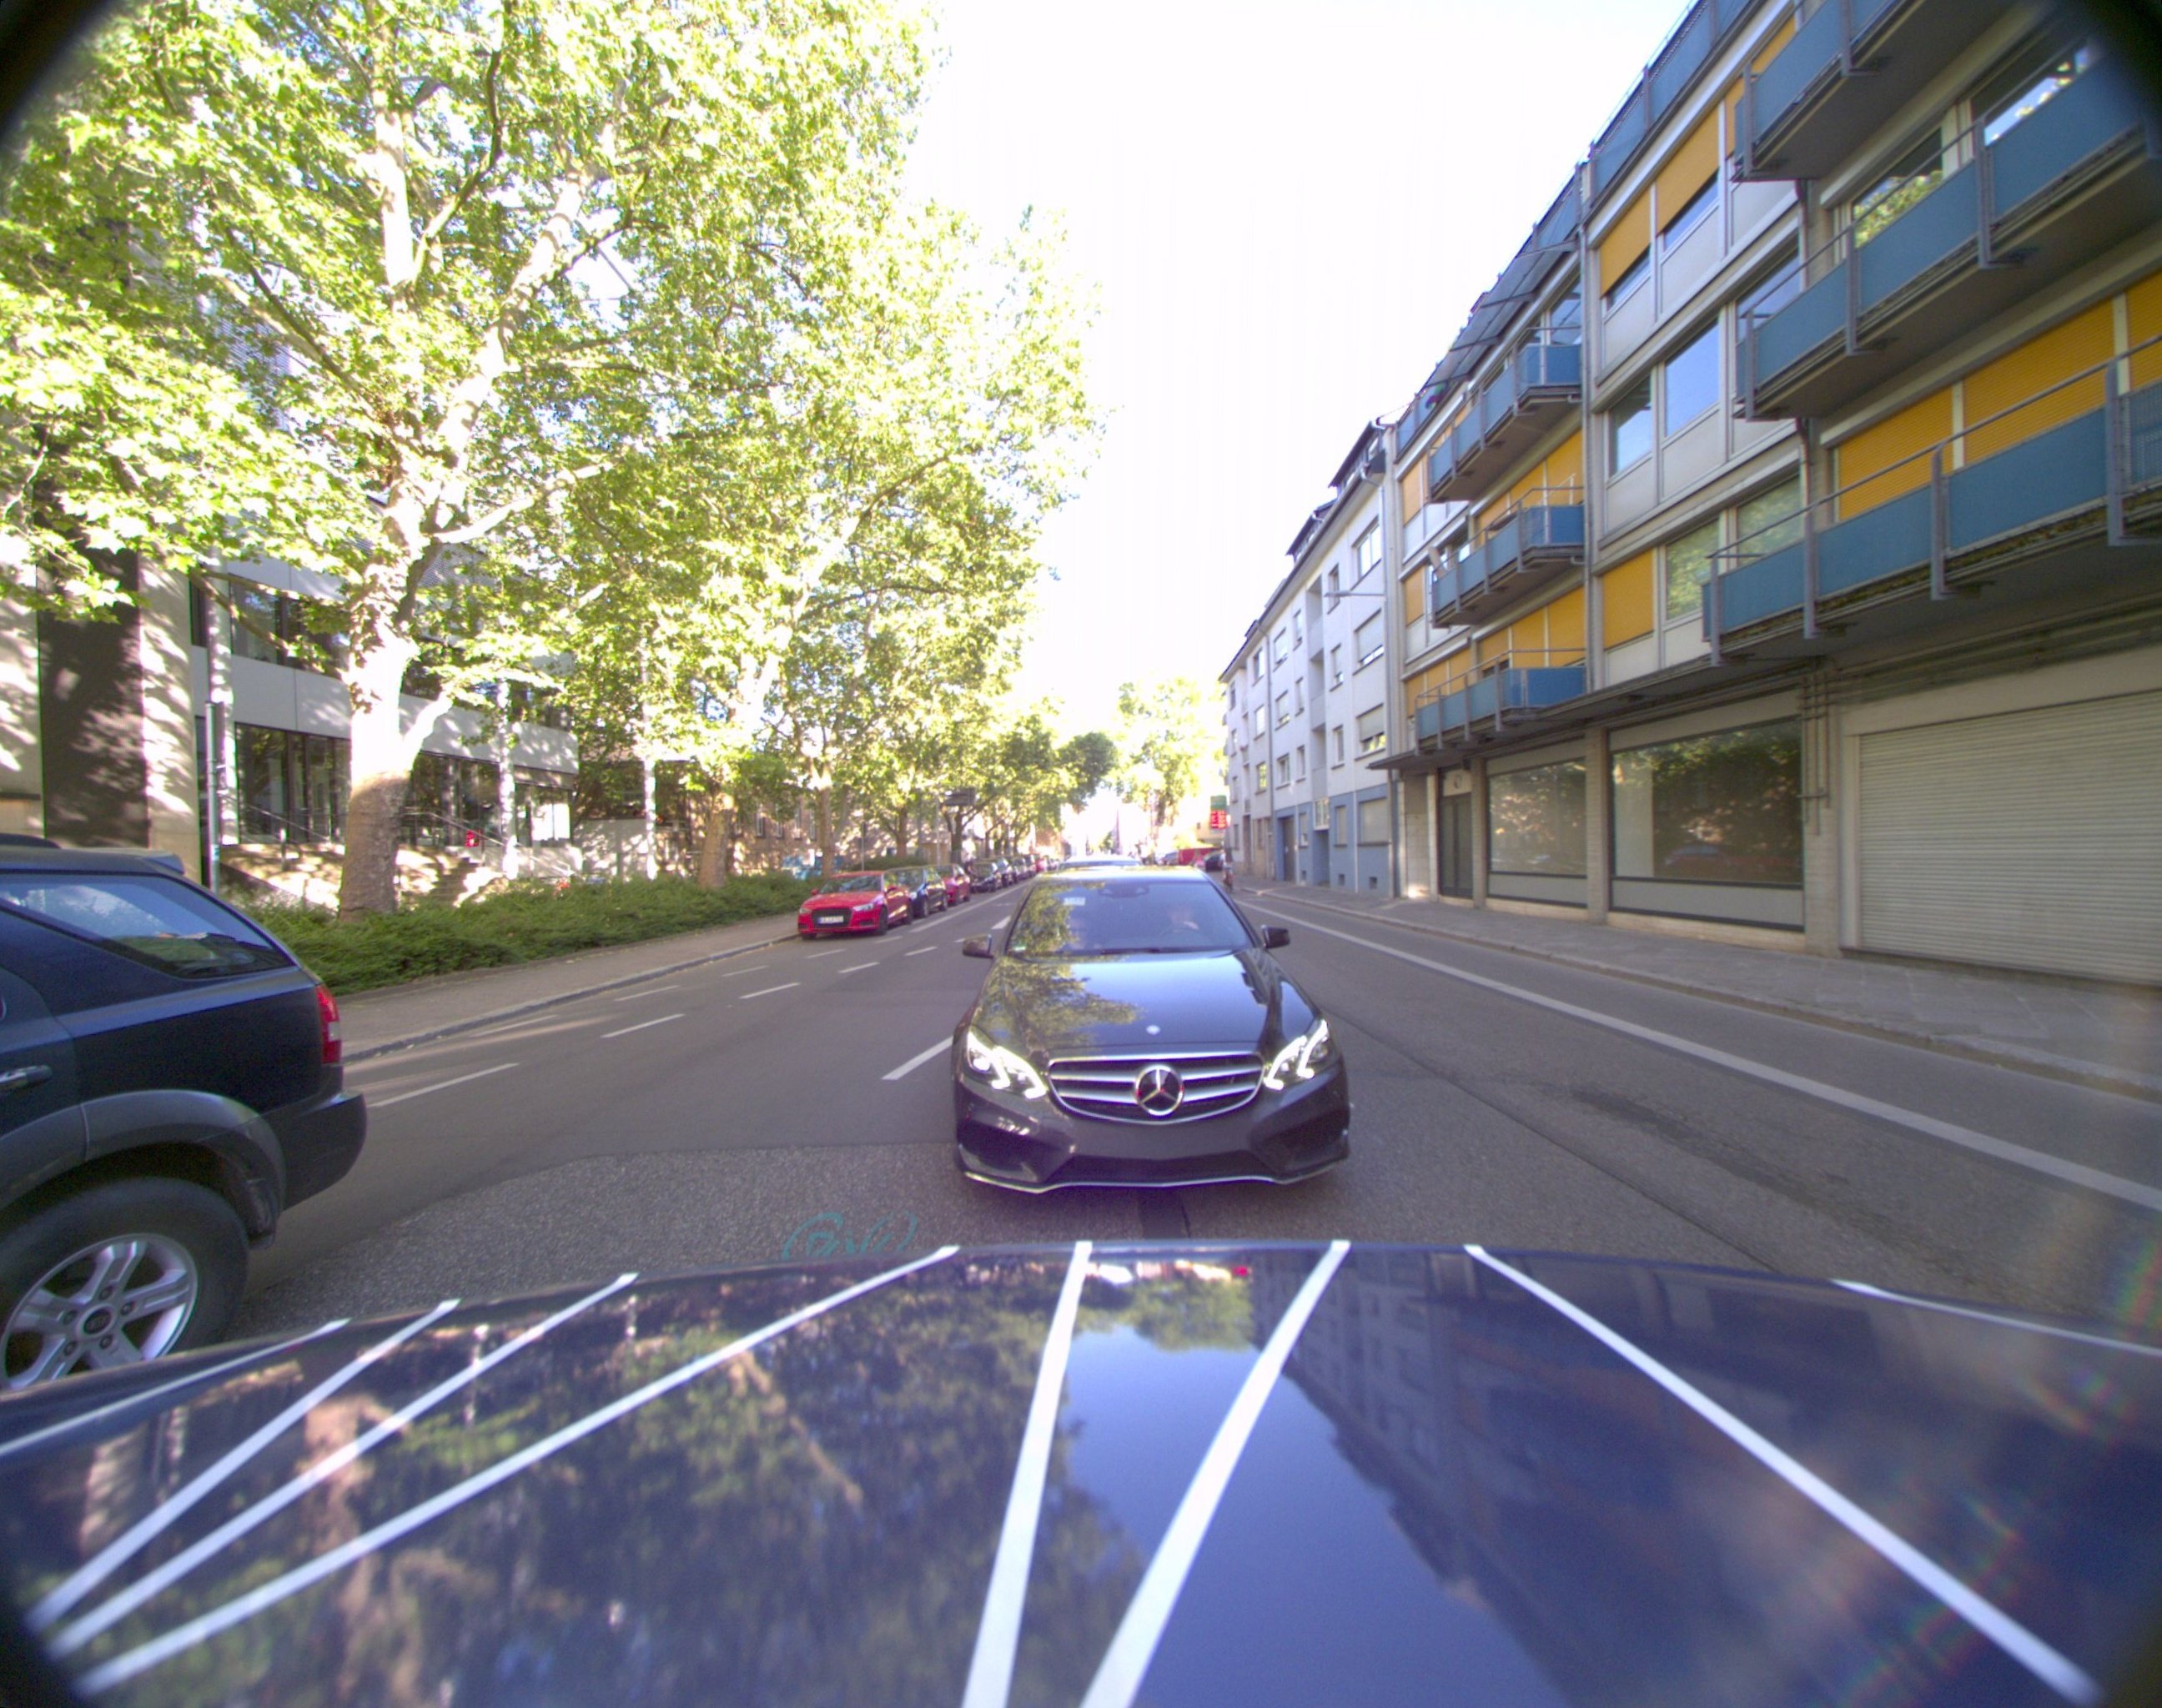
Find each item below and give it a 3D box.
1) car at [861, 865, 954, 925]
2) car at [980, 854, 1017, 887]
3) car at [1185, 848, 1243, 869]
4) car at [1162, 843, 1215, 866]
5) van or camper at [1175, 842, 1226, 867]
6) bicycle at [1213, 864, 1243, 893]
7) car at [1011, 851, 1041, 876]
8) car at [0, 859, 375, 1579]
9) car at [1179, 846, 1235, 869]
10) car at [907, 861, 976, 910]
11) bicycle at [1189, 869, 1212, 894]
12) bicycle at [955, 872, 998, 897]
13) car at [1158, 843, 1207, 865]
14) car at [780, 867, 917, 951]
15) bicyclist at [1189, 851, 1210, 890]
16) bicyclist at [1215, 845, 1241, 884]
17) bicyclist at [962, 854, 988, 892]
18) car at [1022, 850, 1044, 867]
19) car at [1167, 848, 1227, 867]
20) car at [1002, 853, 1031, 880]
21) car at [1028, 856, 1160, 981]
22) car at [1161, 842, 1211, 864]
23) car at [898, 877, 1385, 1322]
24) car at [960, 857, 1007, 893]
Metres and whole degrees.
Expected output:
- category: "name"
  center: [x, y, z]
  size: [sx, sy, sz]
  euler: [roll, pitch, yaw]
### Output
- category: "car"
  center: [-5.032, 1.131, 22.615]
  size: [1.741, 1.444, 4.091]
  euler: [-4, 0, 0]
- category: "car"
  center: [-4.538, 0.893, 42.355]
  size: [1.634, 1.677, 3.907]
  euler: [-2, 0, 0]
- category: "car"
  center: [10.310, 0.317, 58.972]
  size: [4.146, 1.486, 2.000]
  euler: [-2, 0, 1]
- category: "car"
  center: [10.909, 0.017, 77.350]
  size: [4.990, 2.181, 2.000]
  euler: [-2, 1, 1]
- category: "van or camper"
  center: [10.054, 0.016, 64.210]
  size: [3.997, 2.002, 2.000]
  euler: [-2, 1, 0]
- category: "bicycle"
  center: [5.954, 0.983, 30.844]
  size: [0.865, 1.072, 1.836]
  euler: [-2, 0, 1]
- category: "car"
  center: [-4.283, 0.715, 59.860]
  size: [1.992, 1.795, 4.376]
  euler: [-2, 0, 0]
- category: "car"
  center: [-3.638, 0.963, 0.648]
  size: [1.785, 1.760, 4.384]
  euler: [-3, 0, 2]
- category: "car"
  center: [10.133, 0.262, 61.303]
  size: [4.146, 1.681, 2.000]
  euler: [-2, 0, 1]
- category: "car"
  center: [-4.986, 1.083, 27.616]
  size: [1.681, 1.484, 3.918]
  euler: [-4, 0, 0]
- category: "bicycle"
  center: [4.857, 1.112, 31.026]
  size: [0.695, 0.924, 1.863]
  euler: [-2, 0, 3]
- category: "bicycle"
  center: [-4.597, 1.333, 33.281]
  size: [1.800, 1.009, 0.734]
  euler: [-2, 1, -11]
- category: "car"
  center: [11.033, -0.017, 82.833]
  size: [4.990, 2.181, 2.000]
  euler: [-2, 1, 1]
- category: "car"
  center: [-5.222, 1.171, 17.653]
  size: [1.830, 1.519, 4.142]
  euler: [-4, 0, 0]
- category: "bicyclist"
  center: [4.838, 0.662, 30.976]
  size: [0.686, 1.569, 0.982]
  euler: [-2, 1, 2]
- category: "bicyclist"
  center: [5.934, 0.414, 30.776]
  size: [0.844, 1.546, 0.839]
  euler: [-2, 1, 0]
- category: "bicyclist"
  center: [-4.647, 0.835, 33.275]
  size: [1.038, 1.610, 0.697]
  euler: [-2, 1, -10]
- category: "car"
  center: [-4.388, 0.431, 70.456]
  size: [1.741, 1.469, 4.091]
  euler: [-2, 0, 0]
- category: "car"
  center: [10.156, 0.277, 66.713]
  size: [4.990, 1.486, 2.000]
  euler: [-2, 0, 1]
- category: "car"
  center: [-4.617, 0.862, 54.758]
  size: [1.741, 1.785, 3.895]
  euler: [-2, 0, 0]
- category: "car"
  center: [0.207, 0.851, 12.324]
  size: [1.646, 1.520, 4.619]
  euler: [-4, 0, 1]
- category: "car"
  center: [11.029, -0.110, 80.202]
  size: [4.990, 2.181, 2.000]
  euler: [-2, 1, 1]
- category: "car"
  center: [0.218, 0.957, 4.715]
  size: [1.740, 1.448, 3.864]
  euler: [-2, 0, 0]
- category: "car"
  center: [-4.741, 0.982, 37.402]
  size: [1.741, 1.622, 4.091]
  euler: [-2, 0, 0]
